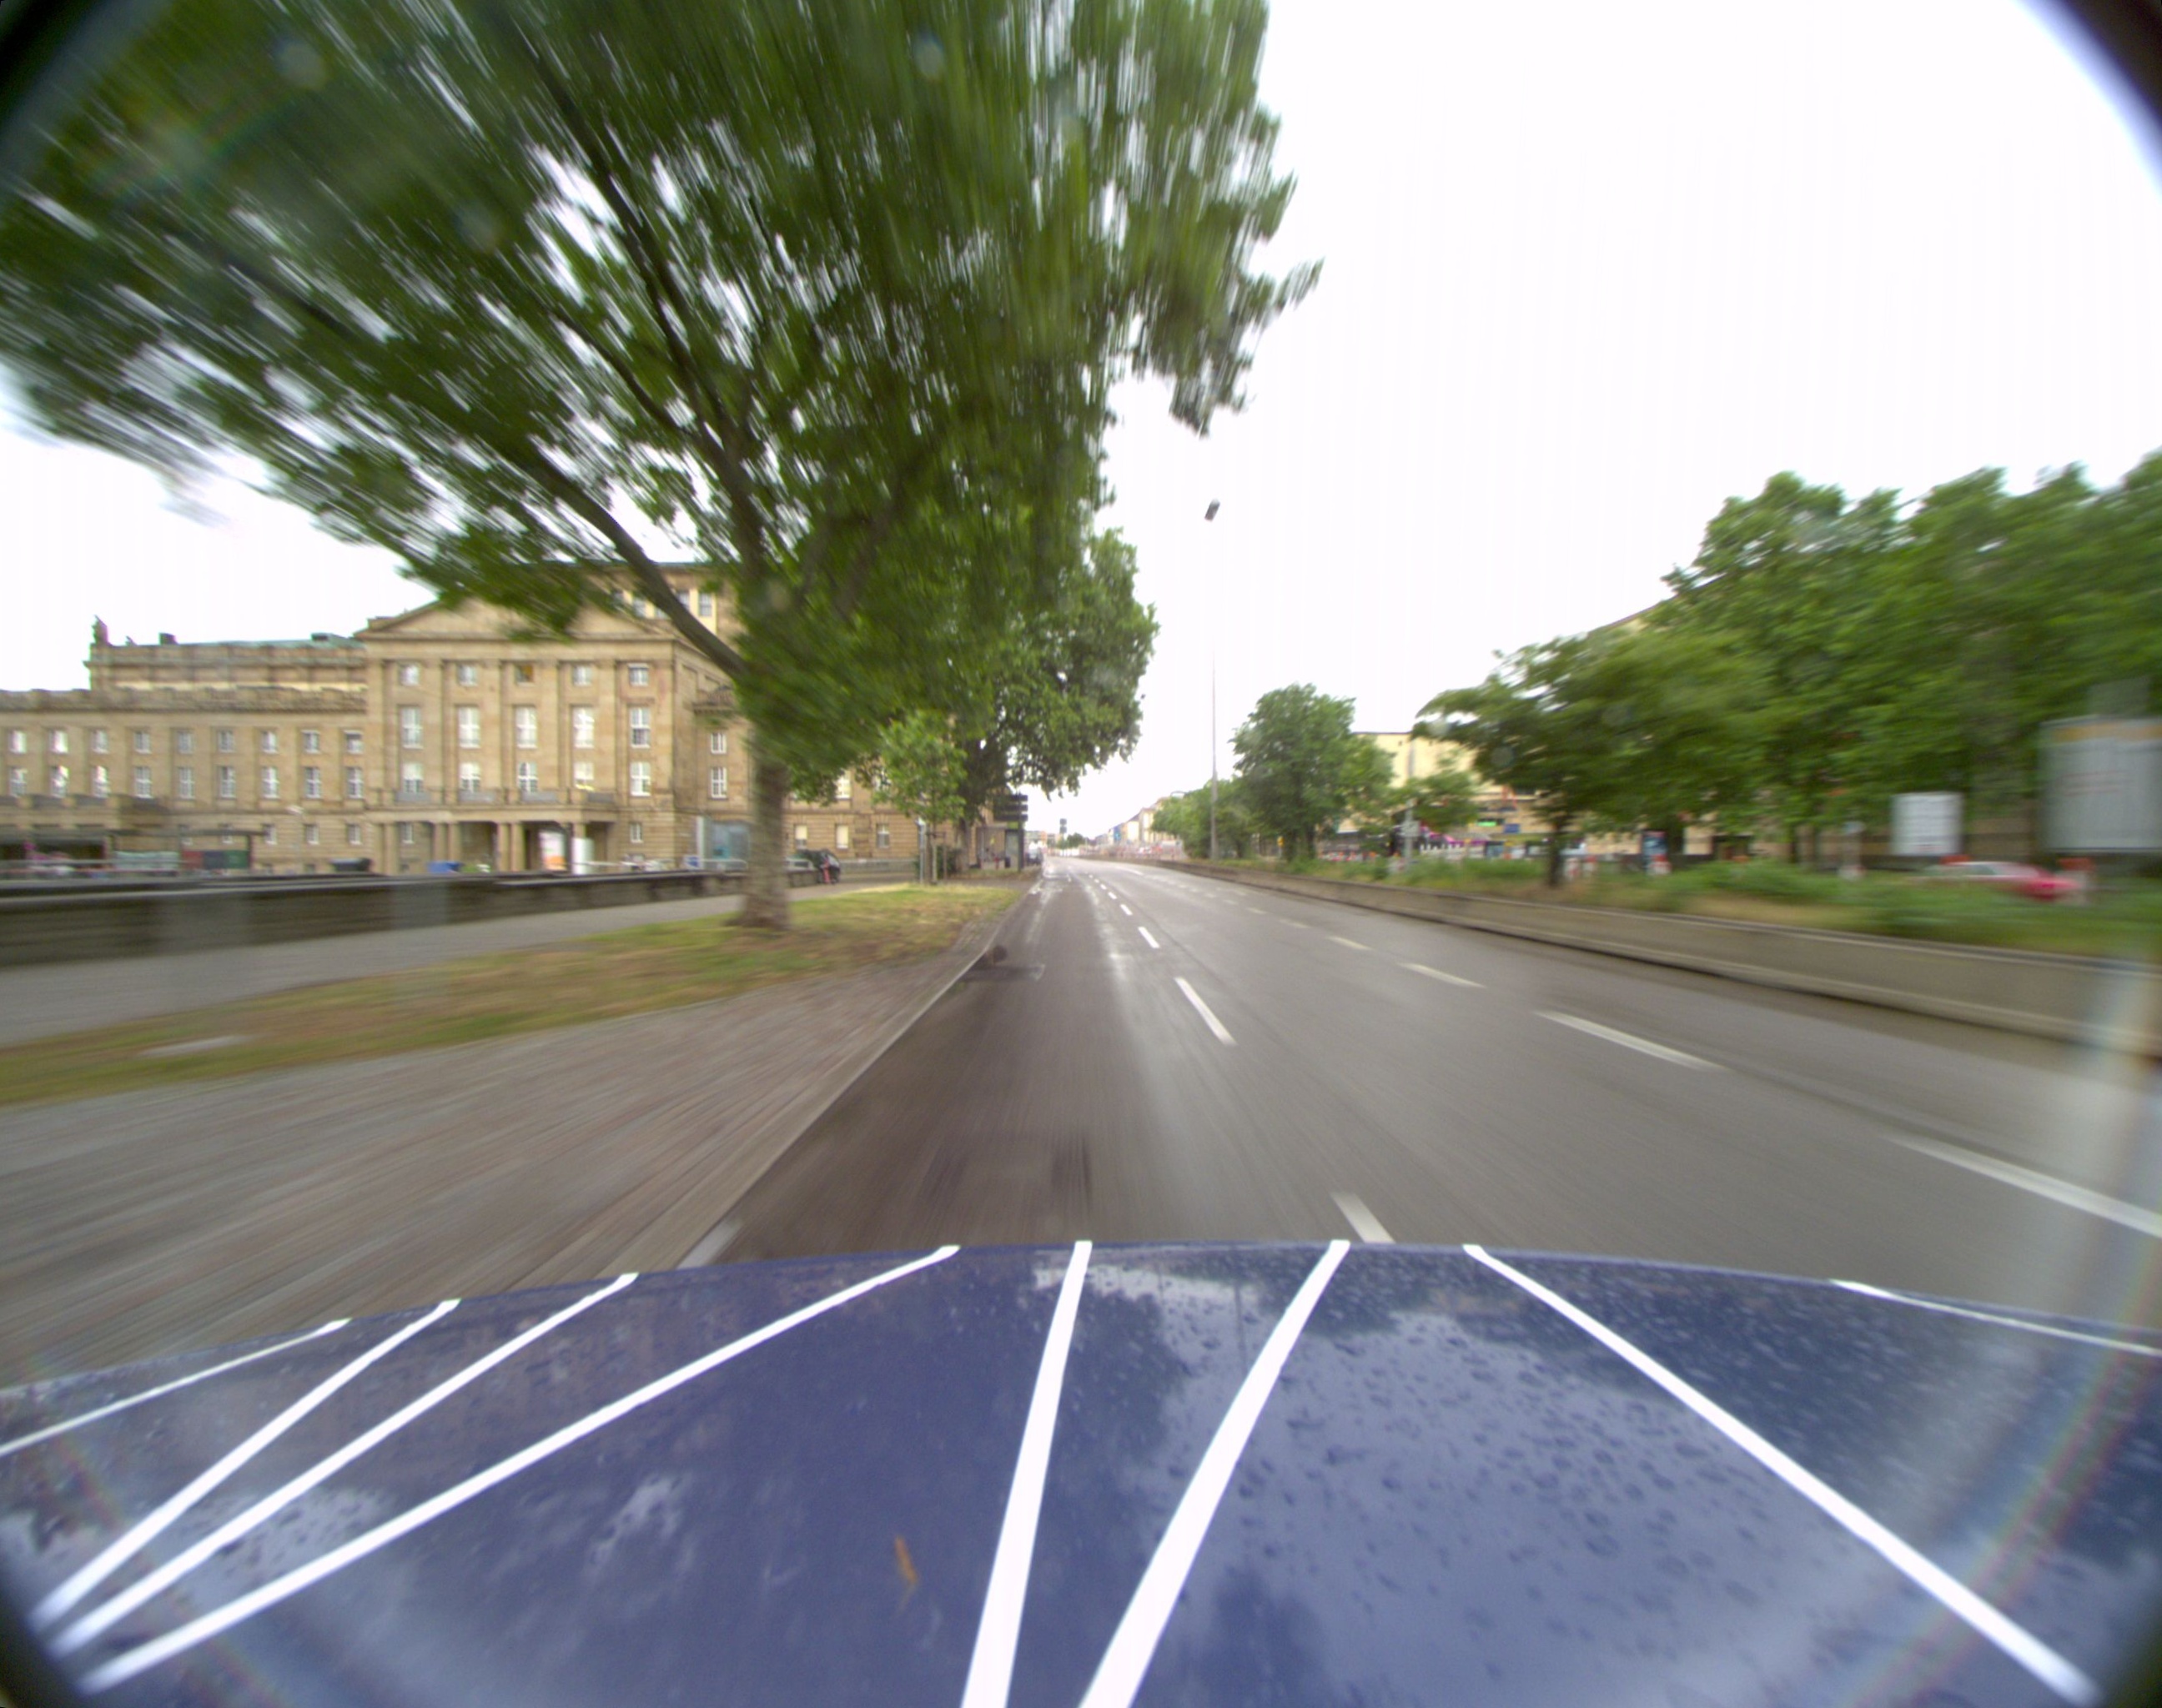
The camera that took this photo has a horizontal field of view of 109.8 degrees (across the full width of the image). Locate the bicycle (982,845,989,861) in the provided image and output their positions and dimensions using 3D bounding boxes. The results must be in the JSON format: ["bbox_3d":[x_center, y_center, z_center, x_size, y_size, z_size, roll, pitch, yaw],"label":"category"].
[{"bbox_3d":[-9.752,-0.102,77.626,0.455,1.507,1.599,-2,1,-3],"label":"bicycle"}]

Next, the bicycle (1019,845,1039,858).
[{"bbox_3d":[-4.543,-0.224,66.309,1.683,1.116,0.601,-1,1,0],"label":"bicycle"}]

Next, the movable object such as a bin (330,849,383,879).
[{"bbox_3d":[-37.195,0.510,39.035,1.493,1.449,1.249,1,2,1],"label":"movable object such as a bin"}]

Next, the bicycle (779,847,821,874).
[{"bbox_3d":[-17.957,0.383,48.624,2.323,1.657,0.774,-1,3,-8],"label":"bicycle"}]

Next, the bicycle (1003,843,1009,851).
[{"bbox_3d":[-10.109,-0.920,102.355,0.419,1.044,1.772,0,2,11],"label":"bicycle"}]

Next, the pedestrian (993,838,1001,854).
[{"bbox_3d":[-9.569,-0.861,86.358,0.797,1.767,0.641,2,2,-2],"label":"pedestrian"}]

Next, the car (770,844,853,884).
[{"bbox_3d":[-11.799,0.425,33.672,1.999,1.600,5.235,-1,0,-3],"label":"car"}]

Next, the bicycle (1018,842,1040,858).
[{"bbox_3d":[-4.600,-0.351,67.108,1.911,1.325,0.650,-1,2,0],"label":"bicycle"}]

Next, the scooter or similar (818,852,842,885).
[{"bbox_3d":[-9.801,0.562,29.650,0.544,1.248,1.433,0,1,-33],"label":"scooter or similar"}]

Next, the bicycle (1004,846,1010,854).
[{"bbox_3d":[-9.369,-0.514,95.837,0.714,1.045,1.739,-1,2,-7],"label":"bicycle"}]

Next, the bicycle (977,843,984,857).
[{"bbox_3d":[-9.626,-0.379,72.915,0.455,1.244,1.599,-2,1,-3],"label":"bicycle"}]

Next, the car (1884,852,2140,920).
[{"bbox_3d":[25.083,0.792,20.751,1.998,1.521,3.999,1,2,0],"label":"car"}]

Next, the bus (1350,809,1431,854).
[{"bbox_3d":[31.791,-2.244,78.961,3.126,4.228,13.492,-2,1,2],"label":"bus"}]

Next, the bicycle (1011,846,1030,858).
[{"bbox_3d":[-5.228,-0.145,65.555,1.593,0.989,0.524,-1,2,0],"label":"bicycle"}]

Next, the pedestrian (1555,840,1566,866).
[{"bbox_3d":[37.023,-0.094,58.668,0.479,2.002,0.511,1,2,-1],"label":"pedestrian"}]

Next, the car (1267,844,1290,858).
[{"bbox_3d":[23.198,-0.341,89.317,1.596,1.492,3.212,-1,2,-5],"label":"car"}]

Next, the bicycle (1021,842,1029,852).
[{"bbox_3d":[-7.278,-0.882,98.907,0.778,1.212,1.962,1,1,-13],"label":"bicycle"}]

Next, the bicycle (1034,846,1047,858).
[{"bbox_3d":[-3.439,-0.156,65.183,0.670,0.962,1.638,0,2,14],"label":"bicycle"}]

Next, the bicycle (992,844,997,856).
[{"bbox_3d":[-9.522,-0.425,83.471,0.465,1.208,1.690,-1,2,-4],"label":"bicycle"}]

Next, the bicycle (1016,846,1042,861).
[{"bbox_3d":[-4.544,-0.049,66.435,2.196,1.329,0.650,0,2,0],"label":"bicycle"}]

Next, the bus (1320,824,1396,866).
[{"bbox_3d":[28.163,-0.955,78.213,2.811,3.789,14.595,-2,1,2],"label":"bus"}]
